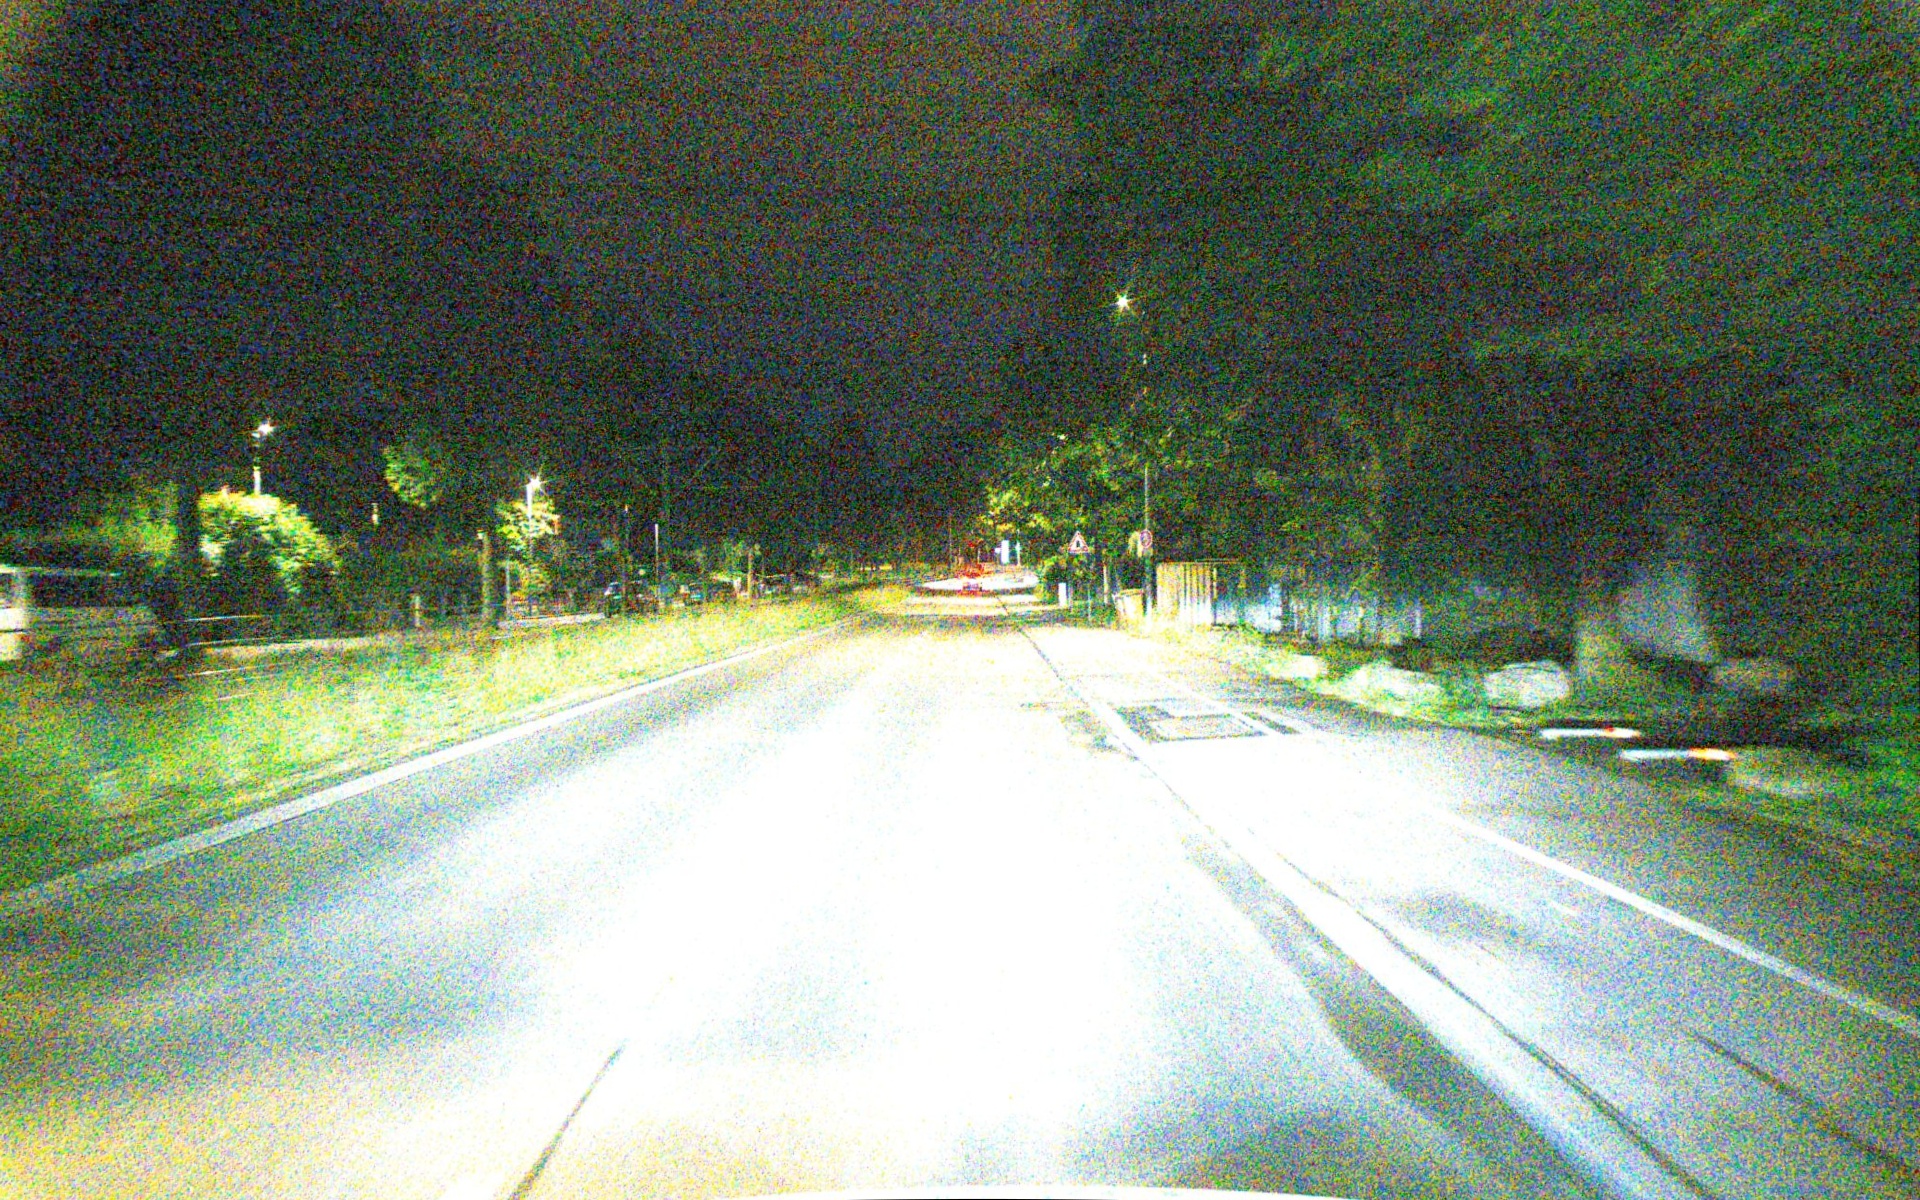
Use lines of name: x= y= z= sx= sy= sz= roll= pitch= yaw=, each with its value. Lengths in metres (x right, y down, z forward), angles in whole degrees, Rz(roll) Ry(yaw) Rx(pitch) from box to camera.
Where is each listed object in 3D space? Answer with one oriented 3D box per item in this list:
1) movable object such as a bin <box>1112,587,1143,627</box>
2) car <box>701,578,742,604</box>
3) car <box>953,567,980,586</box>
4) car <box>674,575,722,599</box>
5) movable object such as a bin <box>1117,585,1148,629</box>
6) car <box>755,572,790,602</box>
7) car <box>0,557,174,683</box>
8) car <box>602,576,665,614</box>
movable object such as a bin: x=4.768 y=0.197 z=47.078 sx=0.839 sy=1.139 sz=0.841 roll=0 pitch=0 yaw=3
car: x=-14.629 y=-0.564 z=101.664 sx=1.953 sy=1.556 sz=4.000 roll=-1 pitch=1 yaw=0
car: x=0.558 y=-2.049 z=145.047 sx=2.118 sy=1.610 sz=4.011 roll=0 pitch=0 yaw=-3
car: x=-15.134 y=-0.749 z=95.763 sx=1.953 sy=1.361 sz=5.432 roll=-1 pitch=1 yaw=0
movable object such as a bin: x=4.806 y=0.193 z=46.201 sx=0.816 sy=1.202 sz=0.829 roll=0 pitch=0 yaw=3
car: x=-14.310 y=-1.002 z=126.432 sx=2.049 sy=2.048 sz=4.000 roll=-5 pitch=1 yaw=0
car: x=-15.230 y=0.302 z=27.869 sx=1.820 sy=1.937 sz=4.877 roll=0 pitch=0 yaw=-3
car: x=-14.964 y=-0.245 z=76.044 sx=1.953 sy=1.656 sz=4.677 roll=-1 pitch=0 yaw=0
